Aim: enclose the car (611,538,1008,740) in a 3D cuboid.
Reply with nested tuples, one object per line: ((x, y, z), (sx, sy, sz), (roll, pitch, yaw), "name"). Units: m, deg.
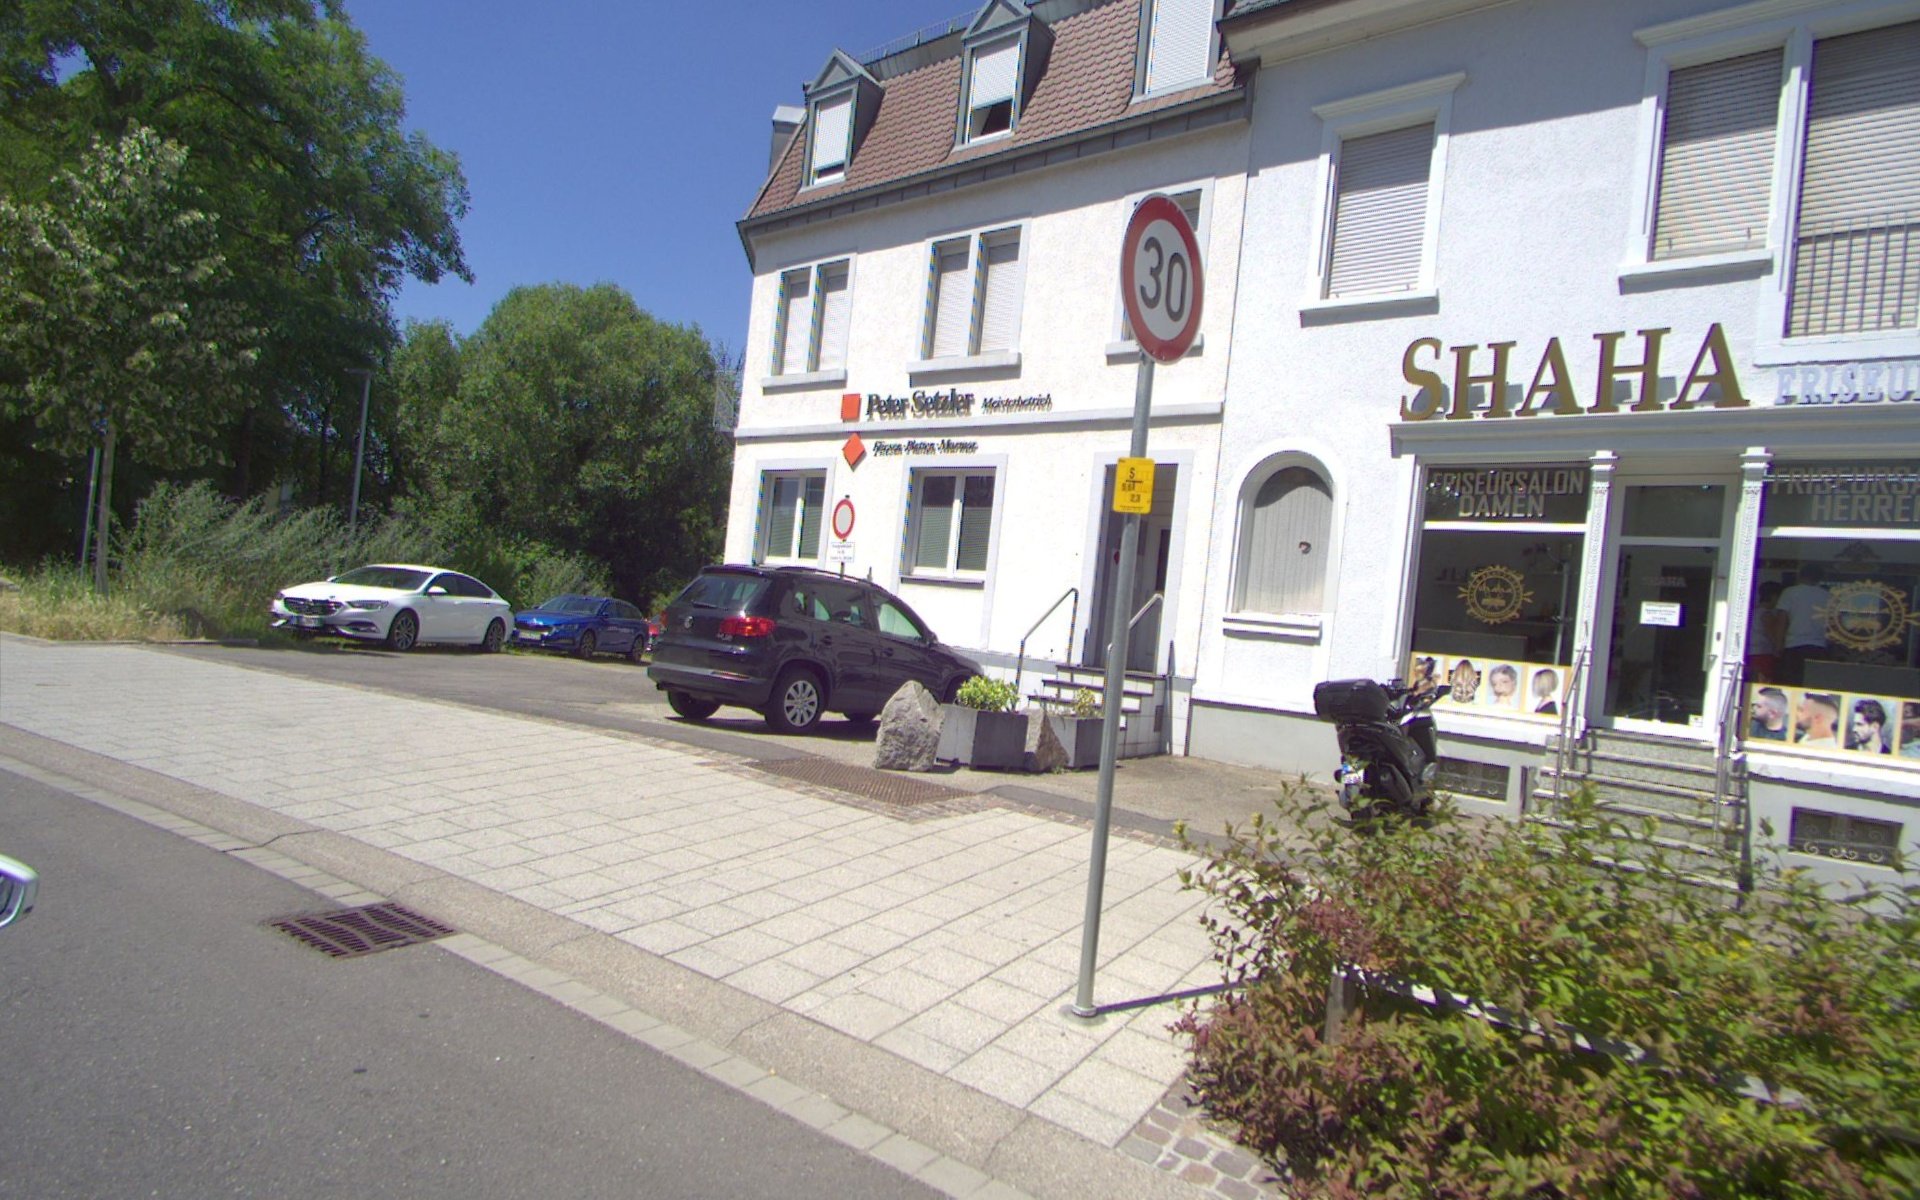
((-1.454, 0.532, 11.129), (1.829, 1.735, 4.077), (5, -3, 38), "car")

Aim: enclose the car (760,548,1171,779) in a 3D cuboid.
((0.271, 0.694, 9.953), (1.829, 1.735, 4.077), (5, -3, 38), "car")

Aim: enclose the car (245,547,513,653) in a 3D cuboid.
((-9.528, 0.106, 16.974), (1.825, 1.365, 4.208), (6, -3, 3), "car")

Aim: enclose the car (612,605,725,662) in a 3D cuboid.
((-8.759, 1.070, 30.658), (1.867, 1.451, 4.382), (5, -3, 3), "car")

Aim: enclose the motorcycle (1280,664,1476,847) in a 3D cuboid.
((3.736, 1.326, 8.832), (0.843, 1.290, 2.376), (6, -2, 39), "motorcycle")

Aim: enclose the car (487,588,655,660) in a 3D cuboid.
((-8.921, 0.634, 23.519), (1.825, 1.365, 4.209), (5, -3, 6), "car")
